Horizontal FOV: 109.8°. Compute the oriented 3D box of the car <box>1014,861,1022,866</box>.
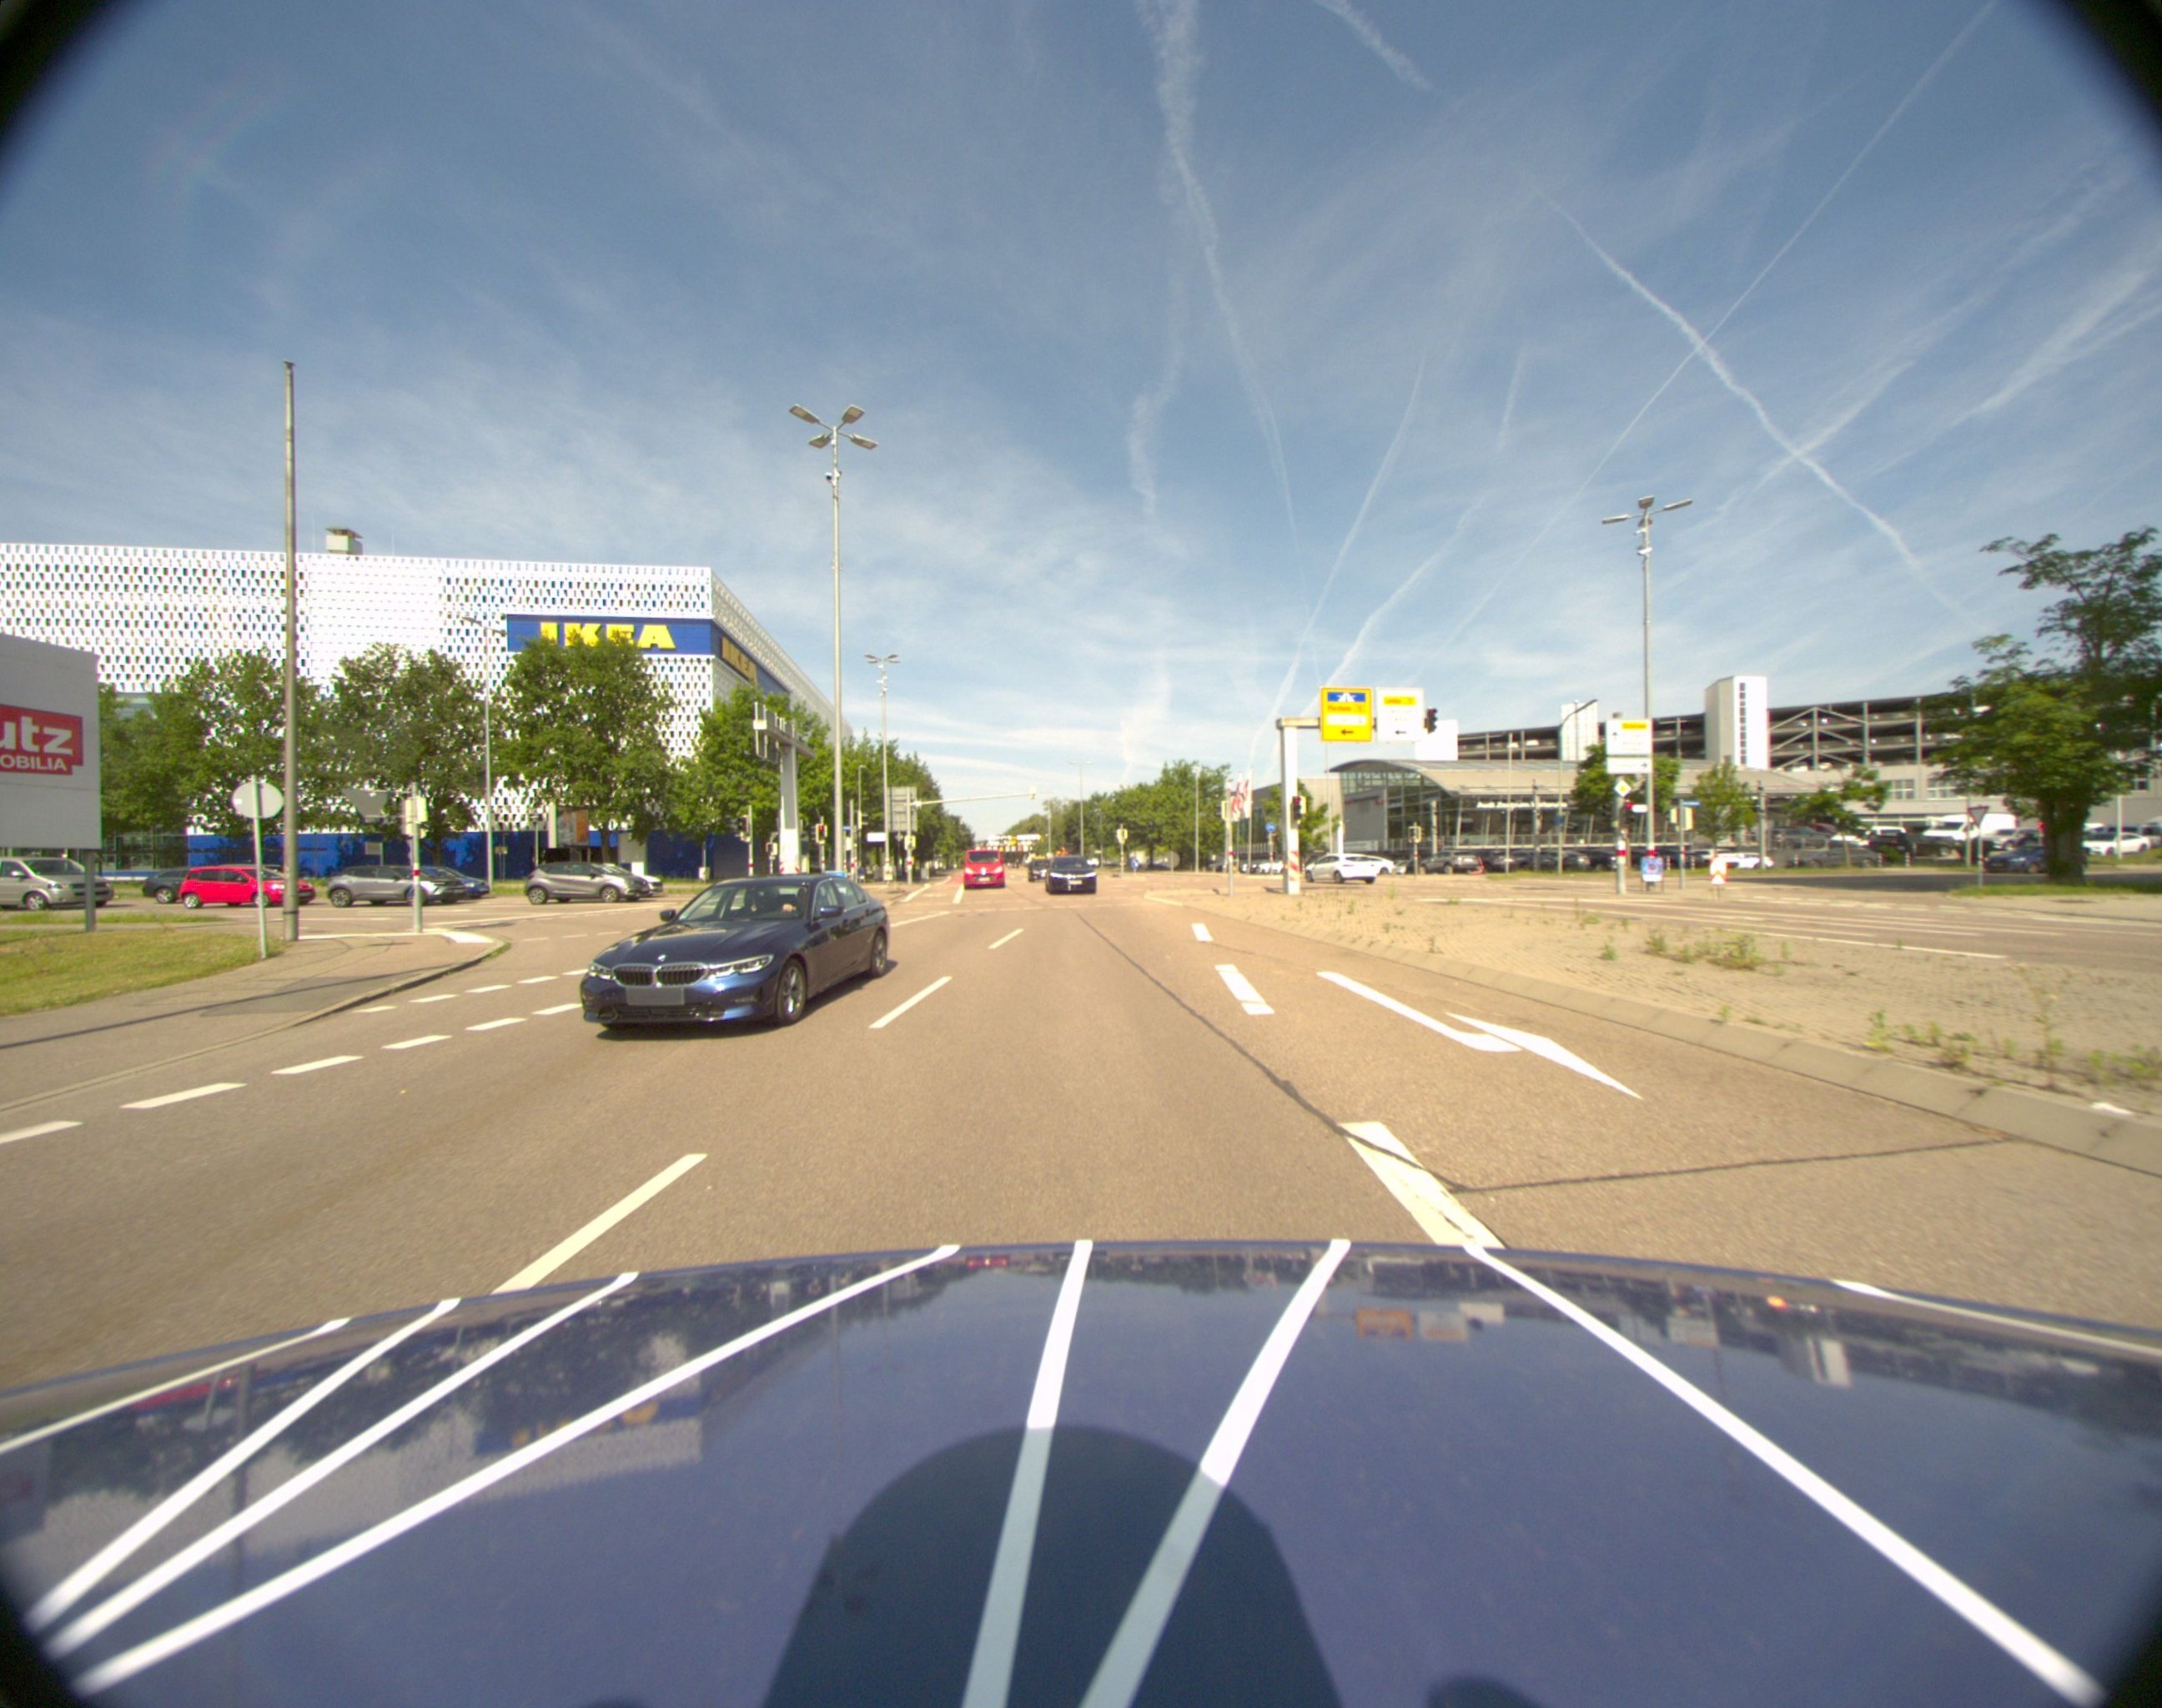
[{"bbox_3d":[-16.827,2.525,202.763,1.853,1.451,4.660,1,-1,-9],"label":"car"}]

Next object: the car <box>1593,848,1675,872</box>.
[{"bbox_3d":[37.780,0.438,52.099,1.793,1.433,4.631,-1,-3,-8],"label":"car"}]

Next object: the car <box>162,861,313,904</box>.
[{"bbox_3d":[-34.541,1.154,31.193,4.128,1.610,1.683,-1,0,-2],"label":"car"}]

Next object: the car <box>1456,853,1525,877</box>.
[{"bbox_3d":[27.080,0.747,50.405,1.793,1.433,4.199,-1,-3,-8],"label":"car"}]

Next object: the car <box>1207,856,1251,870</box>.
[{"bbox_3d":[15.648,0.982,80.423,4.230,1.386,1.801,2,0,-8],"label":"car"}]

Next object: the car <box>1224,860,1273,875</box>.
[{"bbox_3d":[16.509,1.322,75.083,4.295,1.346,1.828,2,0,-9],"label":"car"}]

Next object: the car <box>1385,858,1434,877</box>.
[{"bbox_3d":[28.450,1.158,65.766,3.519,1.464,1.659,-1,0,-9],"label":"car"}]

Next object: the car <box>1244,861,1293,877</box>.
[{"bbox_3d":[17.069,1.382,69.275,3.999,1.311,1.837,1,0,-7],"label":"car"}]

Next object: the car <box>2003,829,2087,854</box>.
[{"bbox_3d":[68.305,-0.848,53.867,3.986,1.565,1.998,-2,0,-10],"label":"car"}]

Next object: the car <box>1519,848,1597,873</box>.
[{"bbox_3d":[32.329,0.472,51.662,1.793,1.496,4.776,-1,-3,-8],"label":"car"}]

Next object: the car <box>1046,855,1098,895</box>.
[{"bbox_3d":[-0.444,0.816,31.164,1.848,1.530,3.999,-1,0,-5],"label":"car"}]

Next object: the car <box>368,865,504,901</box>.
[{"bbox_3d":[-26.849,1.186,31.743,4.056,1.334,1.723,-1,1,-5],"label":"car"}]

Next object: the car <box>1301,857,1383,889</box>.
[{"bbox_3d":[12.613,0.891,37.033,1.788,1.452,4.329,1,-1,-13],"label":"car"}]

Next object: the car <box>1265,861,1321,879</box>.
[{"bbox_3d":[17.898,1.349,64.145,4.086,1.362,1.877,2,0,-8],"label":"car"}]

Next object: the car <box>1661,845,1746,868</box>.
[{"bbox_3d":[43.188,0.218,52.850,1.793,1.433,4.557,-1,-2,-8],"label":"car"}]

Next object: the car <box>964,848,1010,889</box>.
[{"bbox_3d":[-4.660,0.685,38.169,2.015,1.896,4.808,-2,0,-5],"label":"car"}]

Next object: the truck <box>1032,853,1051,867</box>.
[{"bbox_3d":[-7.480,1.136,143.736,2.384,2.609,6.666,-2,0,-14],"label":"truck"}]

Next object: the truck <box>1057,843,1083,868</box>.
[{"bbox_3d":[-1.796,0.254,120.255,2.756,3.658,7.572,-1,0,-11],"label":"truck"}]

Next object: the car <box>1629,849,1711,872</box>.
[{"bbox_3d":[40.509,0.486,52.384,1.793,1.433,4.400,-1,-2,-8],"label":"car"}]

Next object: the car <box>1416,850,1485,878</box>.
[{"bbox_3d":[24.382,0.707,50.328,1.819,1.603,4.595,-1,-3,-7],"label":"car"}]

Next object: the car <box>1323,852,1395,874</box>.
[{"bbox_3d":[19.623,0.642,53.798,4.386,1.424,1.899,-1,0,-6],"label":"car"}]

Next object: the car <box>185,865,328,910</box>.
[{"bbox_3d":[-30.869,1.235,28.526,3.480,1.566,1.598,-1,0,-3],"label":"car"}]

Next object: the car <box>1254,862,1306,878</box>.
[{"bbox_3d":[17.479,1.381,66.737,4.000,1.311,1.867,2,0,-8],"label":"car"}]

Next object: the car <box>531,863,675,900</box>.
[{"bbox_3d":[-19.989,1.128,31.938,4.730,1.417,1.958,-1,1,-4],"label":"car"}]

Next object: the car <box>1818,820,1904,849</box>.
[{"bbox_3d":[57.044,-1.472,55.601,4.548,1.898,2.085,-2,4,-10],"label":"car"}]

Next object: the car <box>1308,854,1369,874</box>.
[{"bbox_3d":[19.038,0.729,56.233,3.847,1.394,1.762,-1,0,-9],"label":"car"}]

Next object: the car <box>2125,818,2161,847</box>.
[{"bbox_3d":[78.487,-1.576,53.942,2.000,2.002,4.747,-1,0,-9],"label":"car"}]

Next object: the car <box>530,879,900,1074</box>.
[{"bbox_3d":[-3.565,1.089,8.541,1.799,1.421,4.538,-1,0,2],"label":"car"}]

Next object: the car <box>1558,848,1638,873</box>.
[{"bbox_3d":[35.179,0.454,51.874,1.784,1.507,4.673,-1,-3,-8],"label":"car"}]

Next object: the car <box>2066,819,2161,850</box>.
[{"bbox_3d":[73.201,-1.308,53.246,2.000,2.002,4.747,-1,0,-9],"label":"car"}]

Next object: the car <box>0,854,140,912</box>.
[{"bbox_3d":[-38.258,1.037,27.880,4.687,1.965,1.961,-1,2,-4],"label":"car"}]

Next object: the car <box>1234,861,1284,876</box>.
[{"bbox_3d":[16.849,1.366,72.127,4.189,1.327,1.853,2,0,-8],"label":"car"}]

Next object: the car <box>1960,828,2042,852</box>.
[{"bbox_3d":[68.294,-1.048,56.425,3.985,1.565,1.999,-2,0,-7],"label":"car"}]

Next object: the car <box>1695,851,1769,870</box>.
[{"bbox_3d":[50.912,0.481,59.483,4.018,1.433,1.800,-1,0,21],"label":"car"}]

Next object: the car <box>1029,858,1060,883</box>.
[{"bbox_3d":[-2.385,1.035,48.975,1.561,1.500,3.837,-3,0,-8],"label":"car"}]

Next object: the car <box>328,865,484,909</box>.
[{"bbox_3d":[-25.487,1.215,28.822,4.040,1.500,1.907,0,1,-5],"label":"car"}]

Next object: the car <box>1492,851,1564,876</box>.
[{"bbox_3d":[29.865,0.665,50.898,1.793,1.534,4.374,-1,-3,-8],"label":"car"}]

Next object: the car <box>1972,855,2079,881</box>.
[{"bbox_3d":[50.374,0.710,40.559,3.802,1.282,1.659,-1,0,-3],"label":"car"}]

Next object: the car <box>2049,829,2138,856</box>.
[{"bbox_3d":[68.686,-0.782,51.549,3.986,1.565,1.998,-3,0,-10],"label":"car"}]

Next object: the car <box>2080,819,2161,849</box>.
[{"bbox_3d":[75.417,-1.400,54.118,2.000,2.002,4.747,-1,0,-9],"label":"car"}]

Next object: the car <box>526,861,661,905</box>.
[{"bbox_3d":[-18.528,1.079,29.011,3.895,1.549,1.808,-1,0,-3],"label":"car"}]

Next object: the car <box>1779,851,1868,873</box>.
[{"bbox_3d":[51.506,0.542,52.790,4.018,1.433,1.800,-1,0,19],"label":"car"}]

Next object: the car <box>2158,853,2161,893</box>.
[{"bbox_3d":[38.996,0.610,24.833,4.019,1.407,1.812,-2,-1,40],"label":"car"}]

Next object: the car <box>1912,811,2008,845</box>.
[{"bbox_3d":[68.028,-2.020,58.863,5.550,2.328,2.088,-2,0,-7],"label":"car"}]
